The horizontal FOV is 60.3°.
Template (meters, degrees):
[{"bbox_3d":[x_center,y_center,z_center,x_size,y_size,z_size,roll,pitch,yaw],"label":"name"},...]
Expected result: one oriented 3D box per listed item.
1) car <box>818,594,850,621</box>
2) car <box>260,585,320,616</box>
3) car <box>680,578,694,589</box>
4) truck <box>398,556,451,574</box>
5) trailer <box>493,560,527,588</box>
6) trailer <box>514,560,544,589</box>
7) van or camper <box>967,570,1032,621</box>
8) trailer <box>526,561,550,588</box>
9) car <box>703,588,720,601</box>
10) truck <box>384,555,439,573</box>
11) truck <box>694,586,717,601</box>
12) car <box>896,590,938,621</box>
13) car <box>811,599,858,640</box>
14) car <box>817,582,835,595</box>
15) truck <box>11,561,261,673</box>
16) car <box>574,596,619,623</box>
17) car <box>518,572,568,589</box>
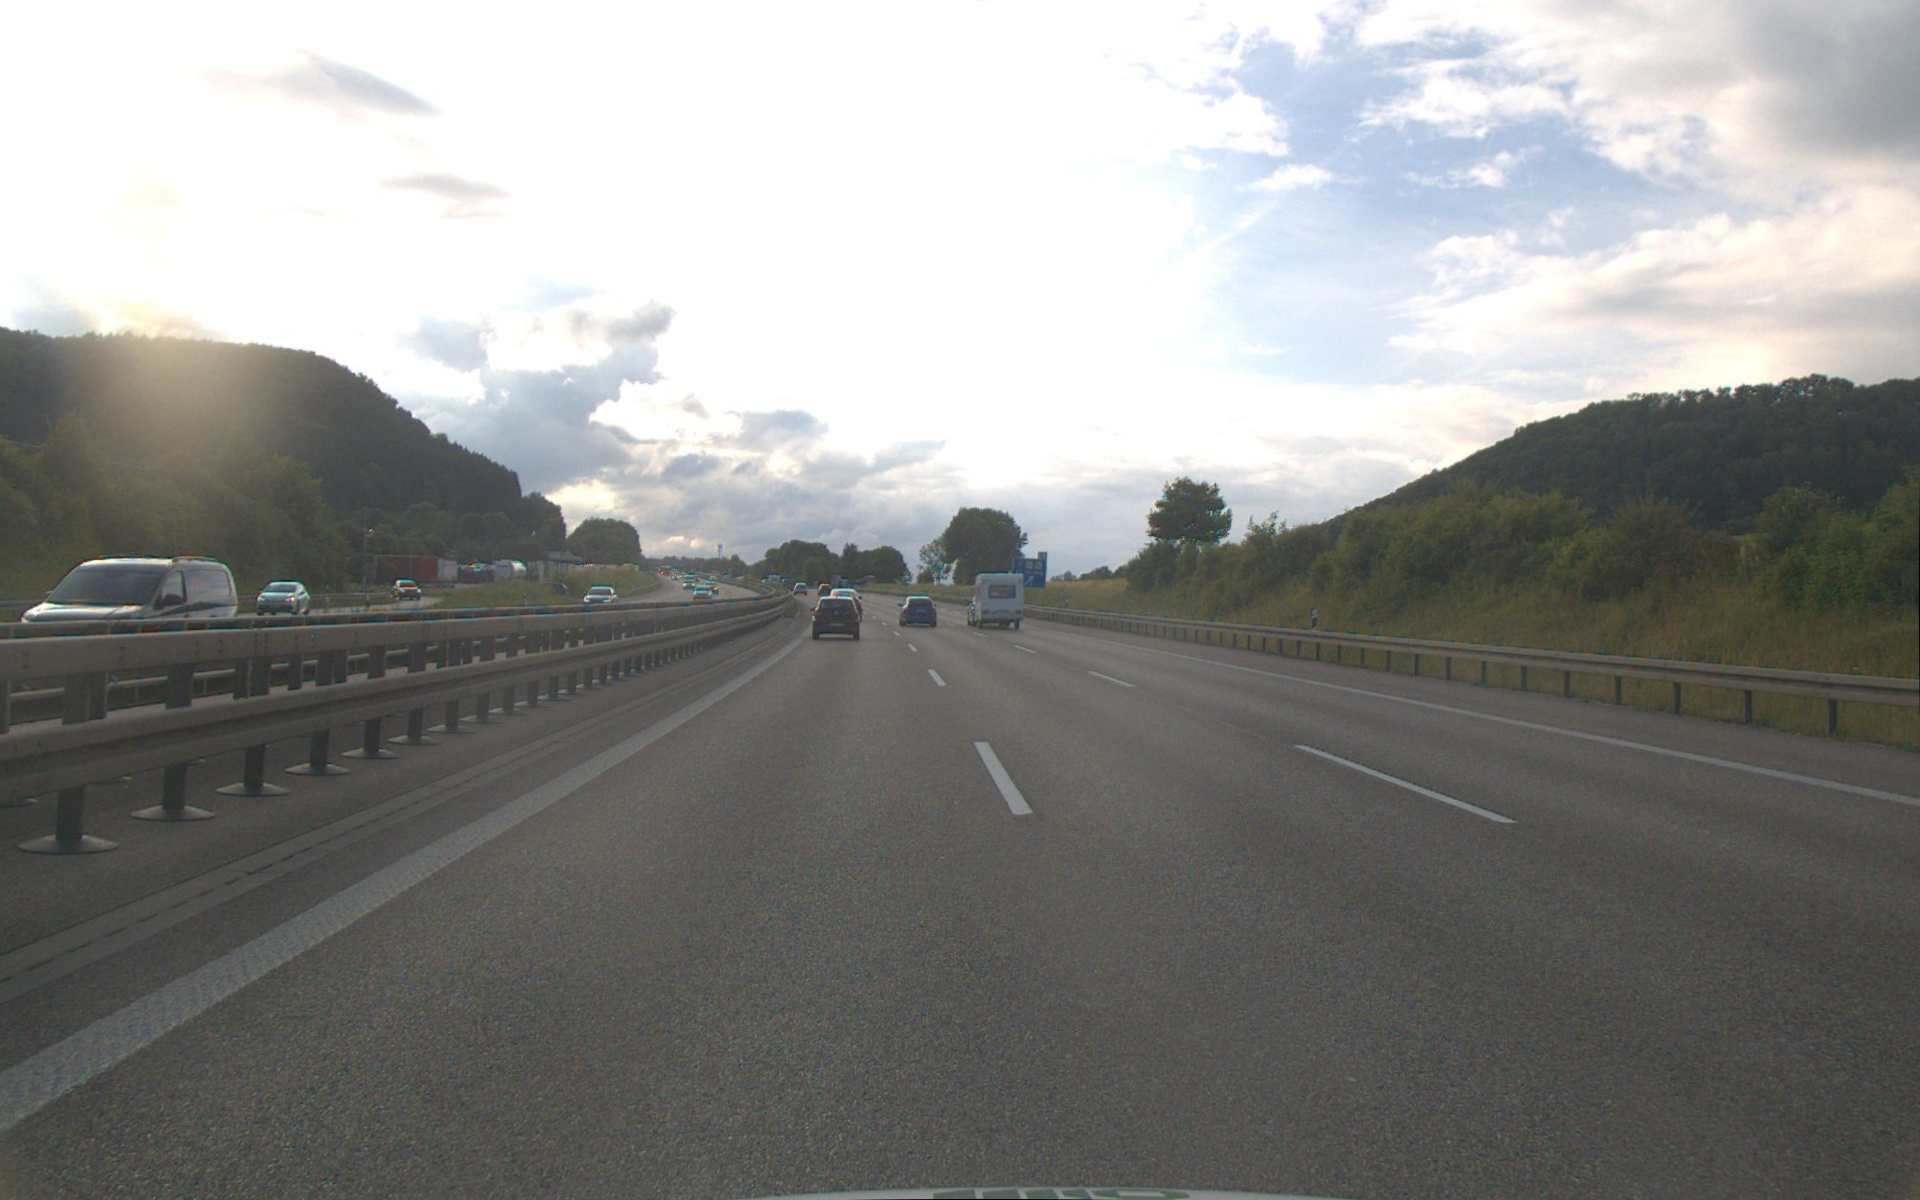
[{"bbox_3d":[-6.874,0.394,89.834,1.535,1.404,3.993,-1,0,-8],"label":"car"},{"bbox_3d":[-31.811,0.020,78.619,1.727,1.382,4.372,-1,0,-10],"label":"car"},{"bbox_3d":[-40.905,-2.414,247.665,1.957,1.523,4.682,-1,0,-10],"label":"car"},{"bbox_3d":[-70.178,-4.551,216.669,7.160,2.265,2.891,2,2,35],"label":"truck"},{"bbox_3d":[-53.707,-3.052,197.761,2.531,2.903,12.236,1,-1,-9],"label":"trailer"},{"bbox_3d":[-57.727,-3.340,221.747,2.824,3.761,13.645,0,0,-10],"label":"trailer"},{"bbox_3d":[1.847,-0.186,78.923,2.498,2.278,5.323,1,-1,-5],"label":"van or camper"},{"bbox_3d":[-62.138,-3.645,243.713,2.827,3.761,13.634,-1,0,-12],"label":"trailer"},{"bbox_3d":[-31.389,-0.707,208.957,1.955,1.523,4.686,-1,0,-6],"label":"car"},{"bbox_3d":[-70.013,-4.587,211.057,7.159,2.049,2.891,-1,0,35],"label":"truck"},{"bbox_3d":[-24.804,-0.659,161.368,1.955,1.389,4.640,1,0,-6],"label":"truck"},{"bbox_3d":[-2.128,0.251,81.282,1.733,1.458,3.995,0,0,-6],"label":"car"},{"bbox_3d":[-4.366,0.666,57.821,1.507,1.371,3.674,1,-1,-3],"label":"car"},{"bbox_3d":[-18.209,-1.577,224.632,1.917,1.601,4.000,1,-1,1],"label":"car"},{"bbox_3d":[-13.162,0.243,26.800,1.954,1.622,4.842,-1,0,-5],"label":"truck"},{"bbox_3d":[-22.775,0.605,103.665,1.953,1.512,3.999,-1,-3,0],"label":"car"},{"bbox_3d":[-39.361,-1.832,156.142,4.531,1.578,1.991,0,0,-17],"label":"car"}]
